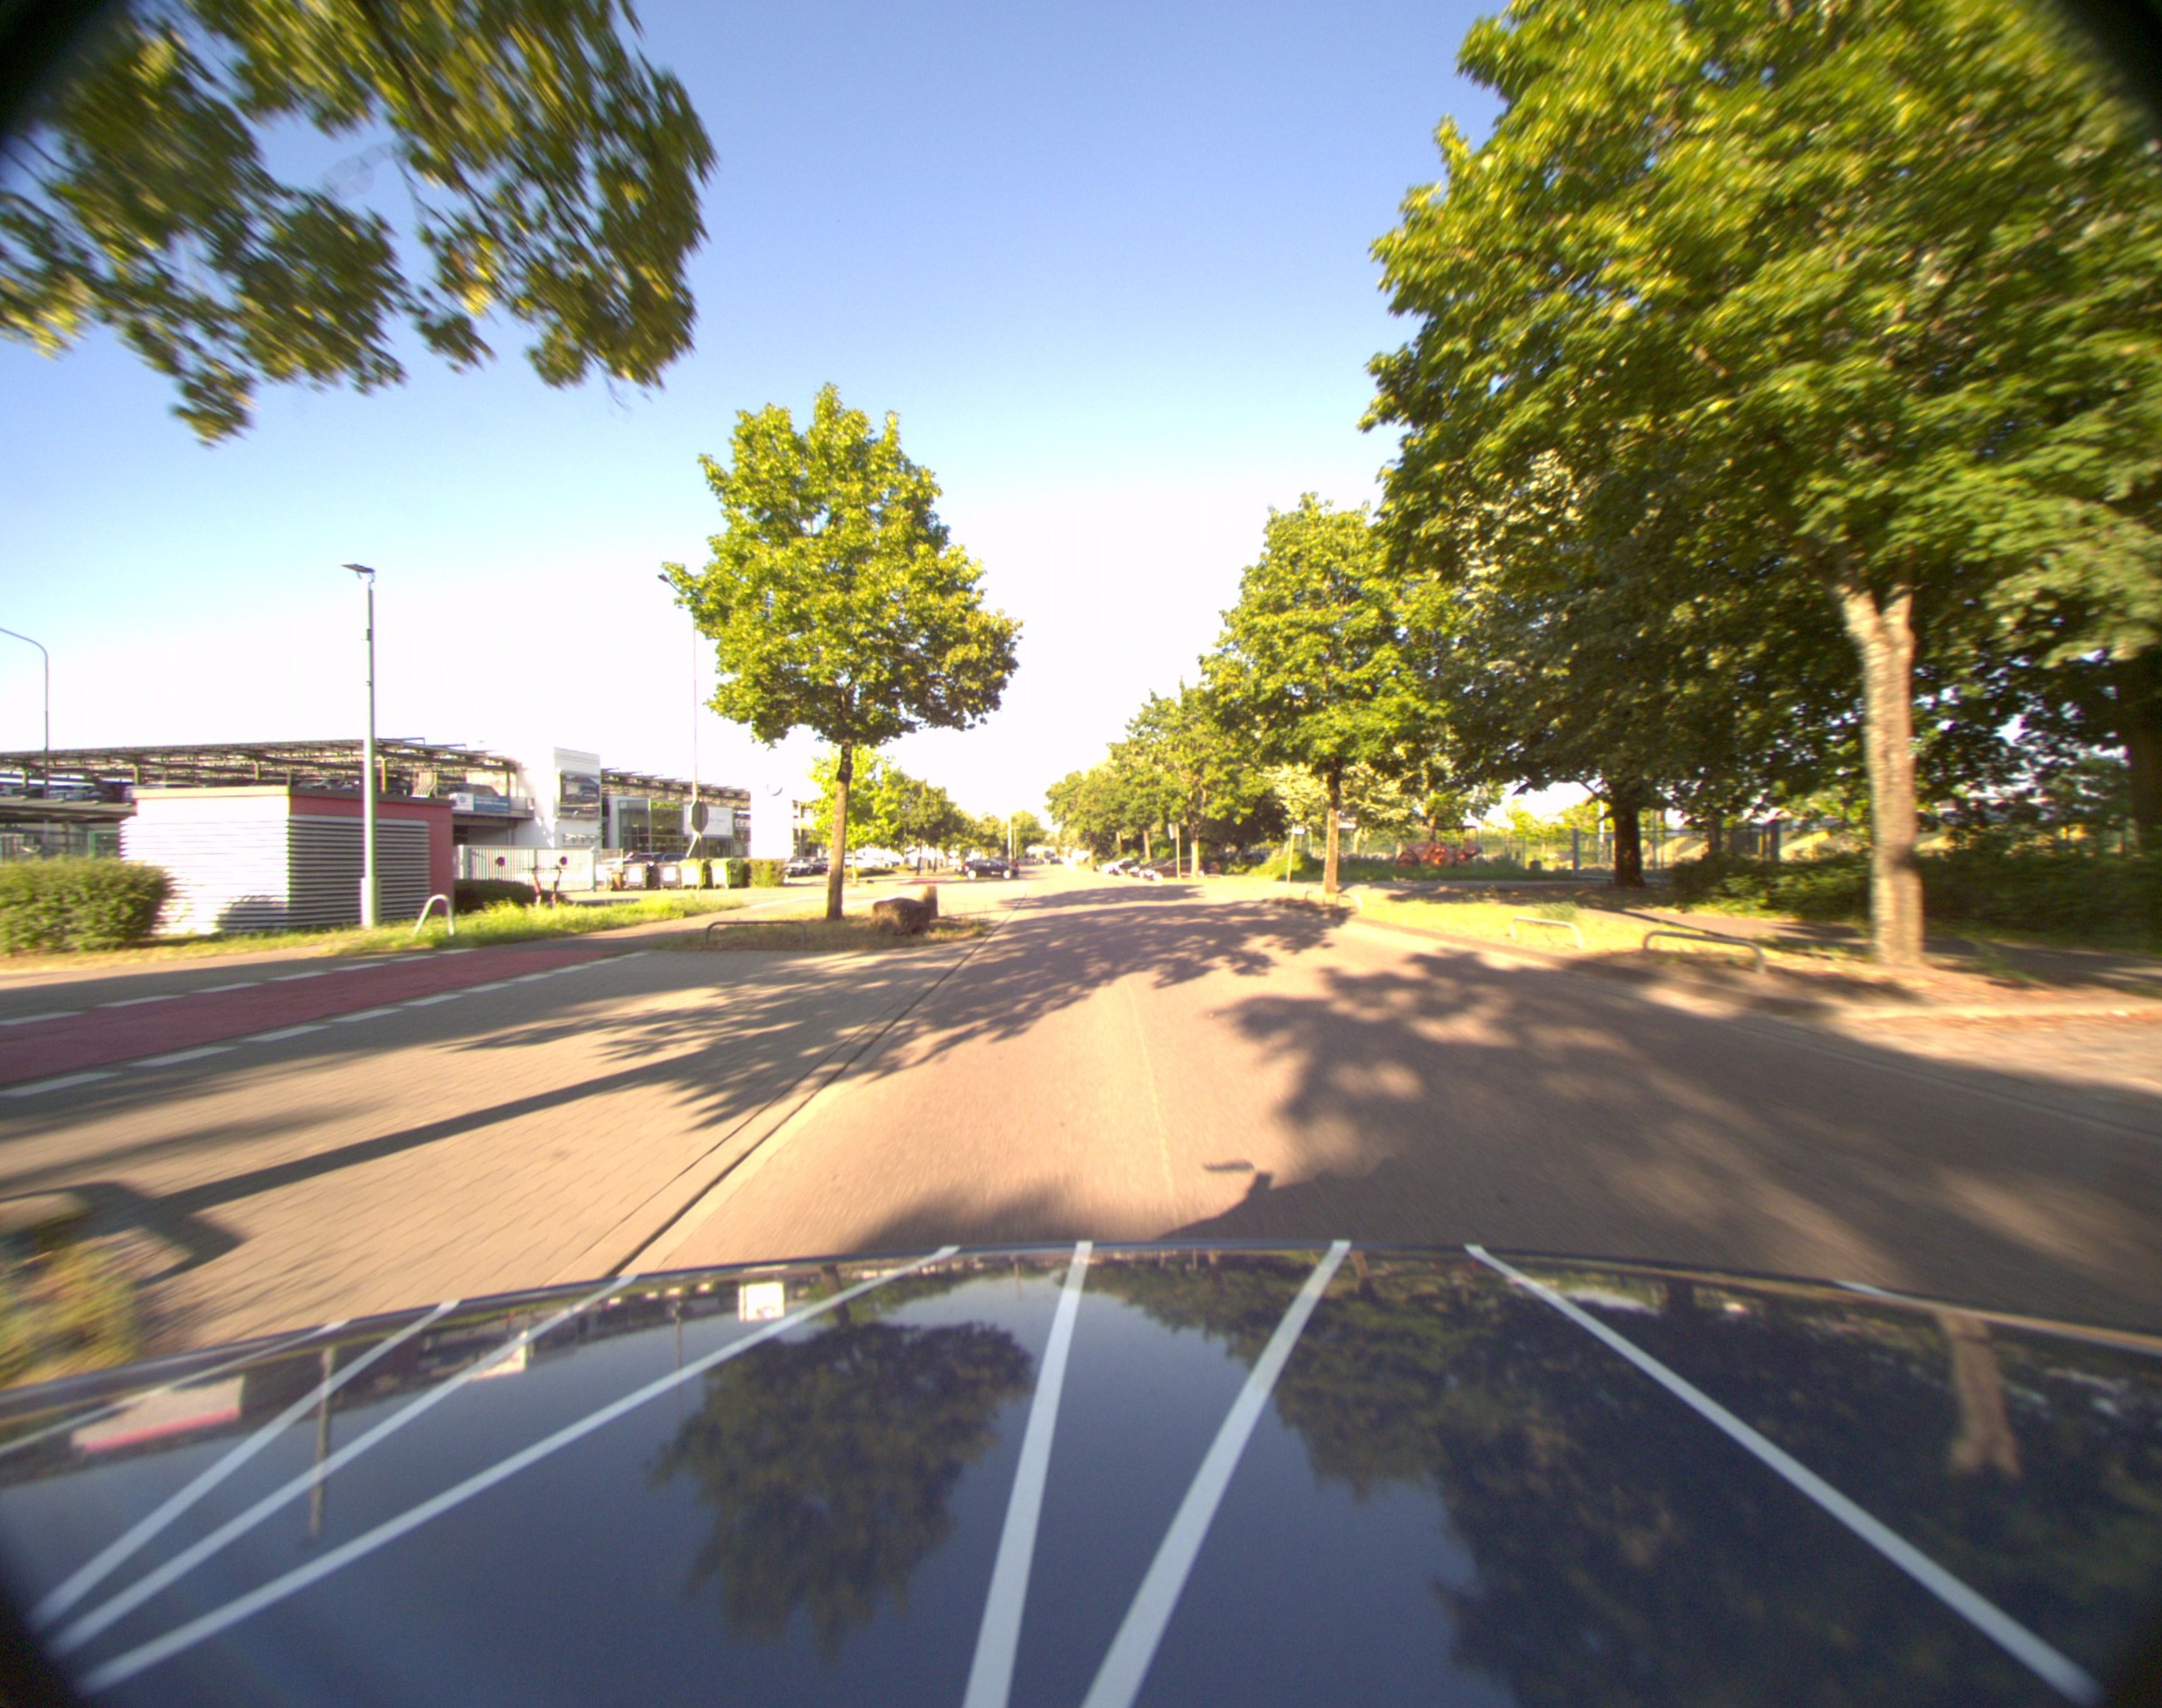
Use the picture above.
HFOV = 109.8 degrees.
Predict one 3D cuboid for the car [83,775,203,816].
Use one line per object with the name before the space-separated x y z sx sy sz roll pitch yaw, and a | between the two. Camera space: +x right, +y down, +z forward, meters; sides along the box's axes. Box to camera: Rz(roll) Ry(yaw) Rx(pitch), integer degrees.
car | -58.522 -3.593 47.532 1.998 2.089 4.203 -3 0 6

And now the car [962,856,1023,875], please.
car | -6.745 0.846 58.079 4.495 1.396 2.032 -1 0 -6

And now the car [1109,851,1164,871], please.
car | 4.923 0.625 67.701 4.493 1.522 1.999 -2 0 -6

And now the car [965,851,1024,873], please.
car | -7.244 0.650 63.926 4.707 1.741 2.191 -1 0 -2

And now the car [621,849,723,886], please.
car | -21.487 0.646 40.191 2.035 1.817 4.980 -1 0 10

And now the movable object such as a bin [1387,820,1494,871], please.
movable object such as a bin | 19.609 -0.442 41.580 2.169 2.649 4.791 -1 0 -41

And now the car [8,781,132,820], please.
car | -63.665 -3.326 47.967 1.998 2.089 4.203 -3 0 6

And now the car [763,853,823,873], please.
car | -22.481 0.683 59.196 4.776 1.455 2.004 0 0 35

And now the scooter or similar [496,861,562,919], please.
scooter or similar | -12.862 0.816 17.743 0.521 1.264 1.387 -1 0 0

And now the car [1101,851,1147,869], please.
car | 4.256 0.581 75.323 4.299 1.522 1.999 -2 0 -5

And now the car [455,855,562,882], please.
car | -31.550 0.774 42.072 2.035 1.423 4.564 0 0 10

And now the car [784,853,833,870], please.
car | -24.511 0.682 68.271 4.775 1.455 2.004 0 0 40

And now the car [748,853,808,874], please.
car | -22.204 0.689 55.630 4.775 1.455 2.051 0 1 40

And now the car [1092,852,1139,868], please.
car | 3.648 0.625 80.989 4.664 1.413 1.915 -2 0 -8

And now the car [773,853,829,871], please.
car | -23.314 0.628 63.237 4.776 1.455 2.004 0 0 35

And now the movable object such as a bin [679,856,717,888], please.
movable object such as a bin | -17.764 0.833 35.279 1.213 1.475 1.038 -1 1 1

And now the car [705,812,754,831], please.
car | -35.193 -3.258 76.126 3.995 1.656 1.788 -3 0 7

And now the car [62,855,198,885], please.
car | -55.674 0.914 44.629 2.036 1.663 4.562 0 0 5

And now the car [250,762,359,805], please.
car | -47.020 -4.195 46.142 1.998 2.089 4.203 -3 0 6

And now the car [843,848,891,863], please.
car | -23.285 0.207 82.579 4.613 1.565 1.995 1 0 -33

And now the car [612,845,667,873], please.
car | -32.927 0.390 56.624 4.170 2.002 2.004 0 0 35

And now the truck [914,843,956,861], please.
truck | -29.251 -0.340 152.162 8.231 3.501 3.121 0 0 30

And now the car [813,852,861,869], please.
car | -23.930 0.618 74.380 5.176 1.562 2.004 0 0 40

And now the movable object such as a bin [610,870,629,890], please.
movable object such as a bin | -21.753 1.238 35.805 0.506 0.916 0.604 -1 1 4

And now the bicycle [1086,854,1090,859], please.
bicycle | 1.502 0.466 164.715 0.768 1.033 2.216 -1 0 -6

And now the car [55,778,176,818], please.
car | -60.759 -3.475 47.932 1.998 2.089 4.203 -3 0 6

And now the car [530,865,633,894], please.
car | -26.812 1.345 41.003 2.035 1.423 4.564 0 0 10

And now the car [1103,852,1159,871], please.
car | 4.600 0.664 70.168 4.865 1.522 1.998 -2 0 -9

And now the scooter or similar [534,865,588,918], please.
scooter or similar | -13.125 0.931 19.194 0.521 1.264 1.200 -1 0 0

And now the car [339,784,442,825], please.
car | -41.209 -2.897 45.469 1.998 2.089 4.203 -3 0 6

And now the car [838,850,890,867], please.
car | -22.746 0.483 79.790 4.738 1.680 2.405 1 0 -33

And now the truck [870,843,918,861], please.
truck | -38.473 -0.395 156.052 10.092 3.623 3.302 0 0 29

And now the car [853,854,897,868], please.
car | -24.020 0.835 88.696 4.613 1.565 1.995 -1 0 -33

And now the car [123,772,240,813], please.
car | -55.706 -3.741 47.192 1.998 2.089 4.203 -3 0 6

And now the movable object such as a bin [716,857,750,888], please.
movable object such as a bin | -16.033 0.842 35.014 0.846 1.408 1.040 -2 0 27

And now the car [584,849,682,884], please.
car | -24.029 0.636 40.938 2.035 1.817 4.564 0 0 10

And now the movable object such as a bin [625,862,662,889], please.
movable object such as a bin | -20.660 1.012 35.901 1.120 1.260 1.038 -1 0 1

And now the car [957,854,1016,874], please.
car | -7.485 0.780 60.484 4.494 1.541 2.033 -1 0 -4

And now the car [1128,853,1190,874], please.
car | 6.140 0.723 60.180 4.493 1.453 1.999 -2 0 -6

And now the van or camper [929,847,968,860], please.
van or camper | -28.367 -0.109 163.170 7.991 2.883 2.948 0 0 25

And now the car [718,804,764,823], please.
car | -35.528 -4.181 79.488 3.995 1.656 1.788 -3 0 8

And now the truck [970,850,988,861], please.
truck | -24.488 0.346 182.064 2.542 2.704 5.977 0 0 11

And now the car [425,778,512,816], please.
car | -40.316 -3.725 50.042 4.196 2.089 2.001 -3 0 6

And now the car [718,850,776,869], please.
car | -30.798 0.489 70.168 4.795 1.763 1.996 0 0 -22

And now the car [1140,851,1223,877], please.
car | 6.609 0.630 50.299 5.050 1.453 1.999 -2 0 -6
